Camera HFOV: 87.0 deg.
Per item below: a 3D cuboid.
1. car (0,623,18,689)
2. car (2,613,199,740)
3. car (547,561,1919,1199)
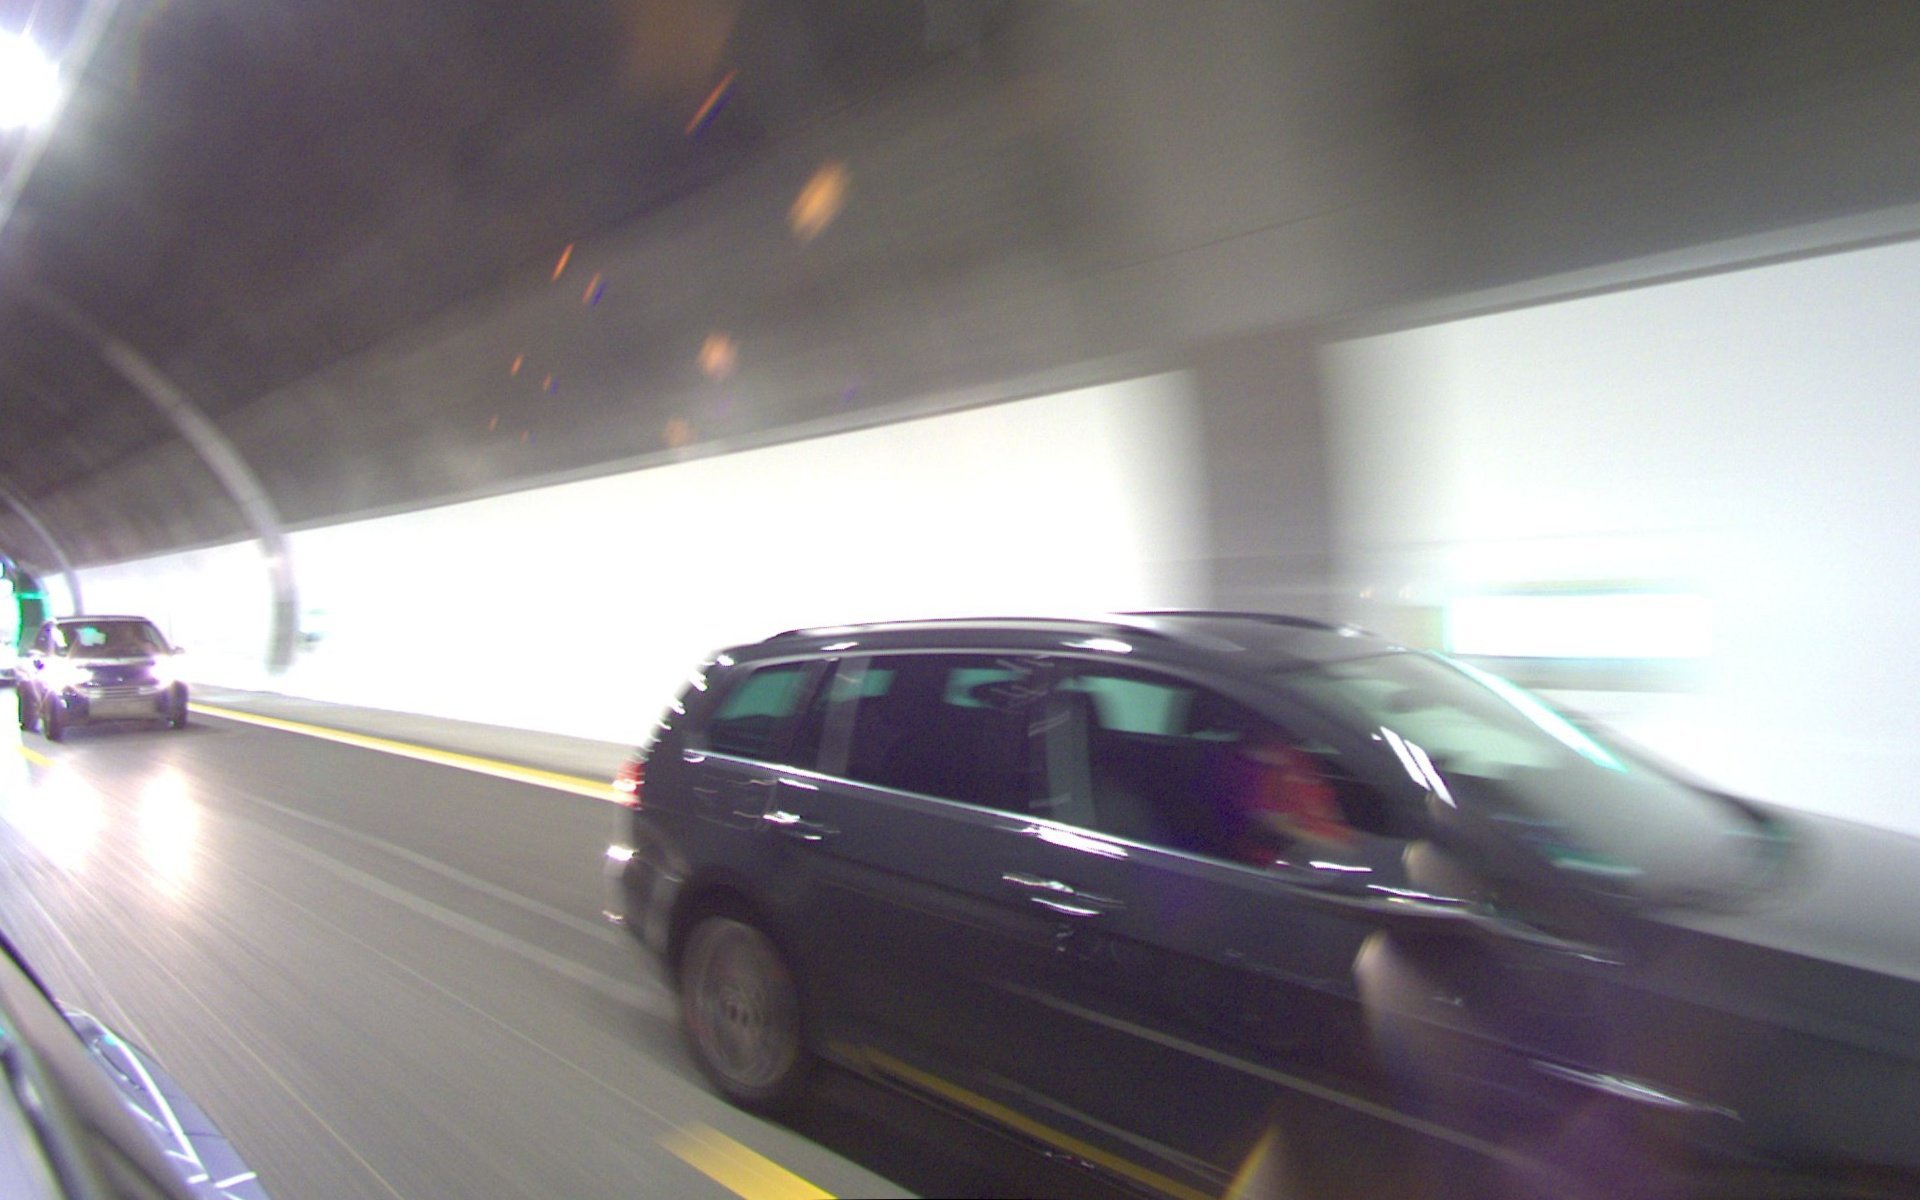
[{"bbox_3d":[-23.115,1.276,23.185,4.059,1.431,1.884,-1,-1,42],"label":"car"},{"bbox_3d":[-11.670,0.962,13.720,2.647,1.528,1.513,-1,-1,37],"label":"car"},{"bbox_3d":[0.926,0.692,2.669,4.881,1.449,1.759,-1,-1,42],"label":"car"}]
